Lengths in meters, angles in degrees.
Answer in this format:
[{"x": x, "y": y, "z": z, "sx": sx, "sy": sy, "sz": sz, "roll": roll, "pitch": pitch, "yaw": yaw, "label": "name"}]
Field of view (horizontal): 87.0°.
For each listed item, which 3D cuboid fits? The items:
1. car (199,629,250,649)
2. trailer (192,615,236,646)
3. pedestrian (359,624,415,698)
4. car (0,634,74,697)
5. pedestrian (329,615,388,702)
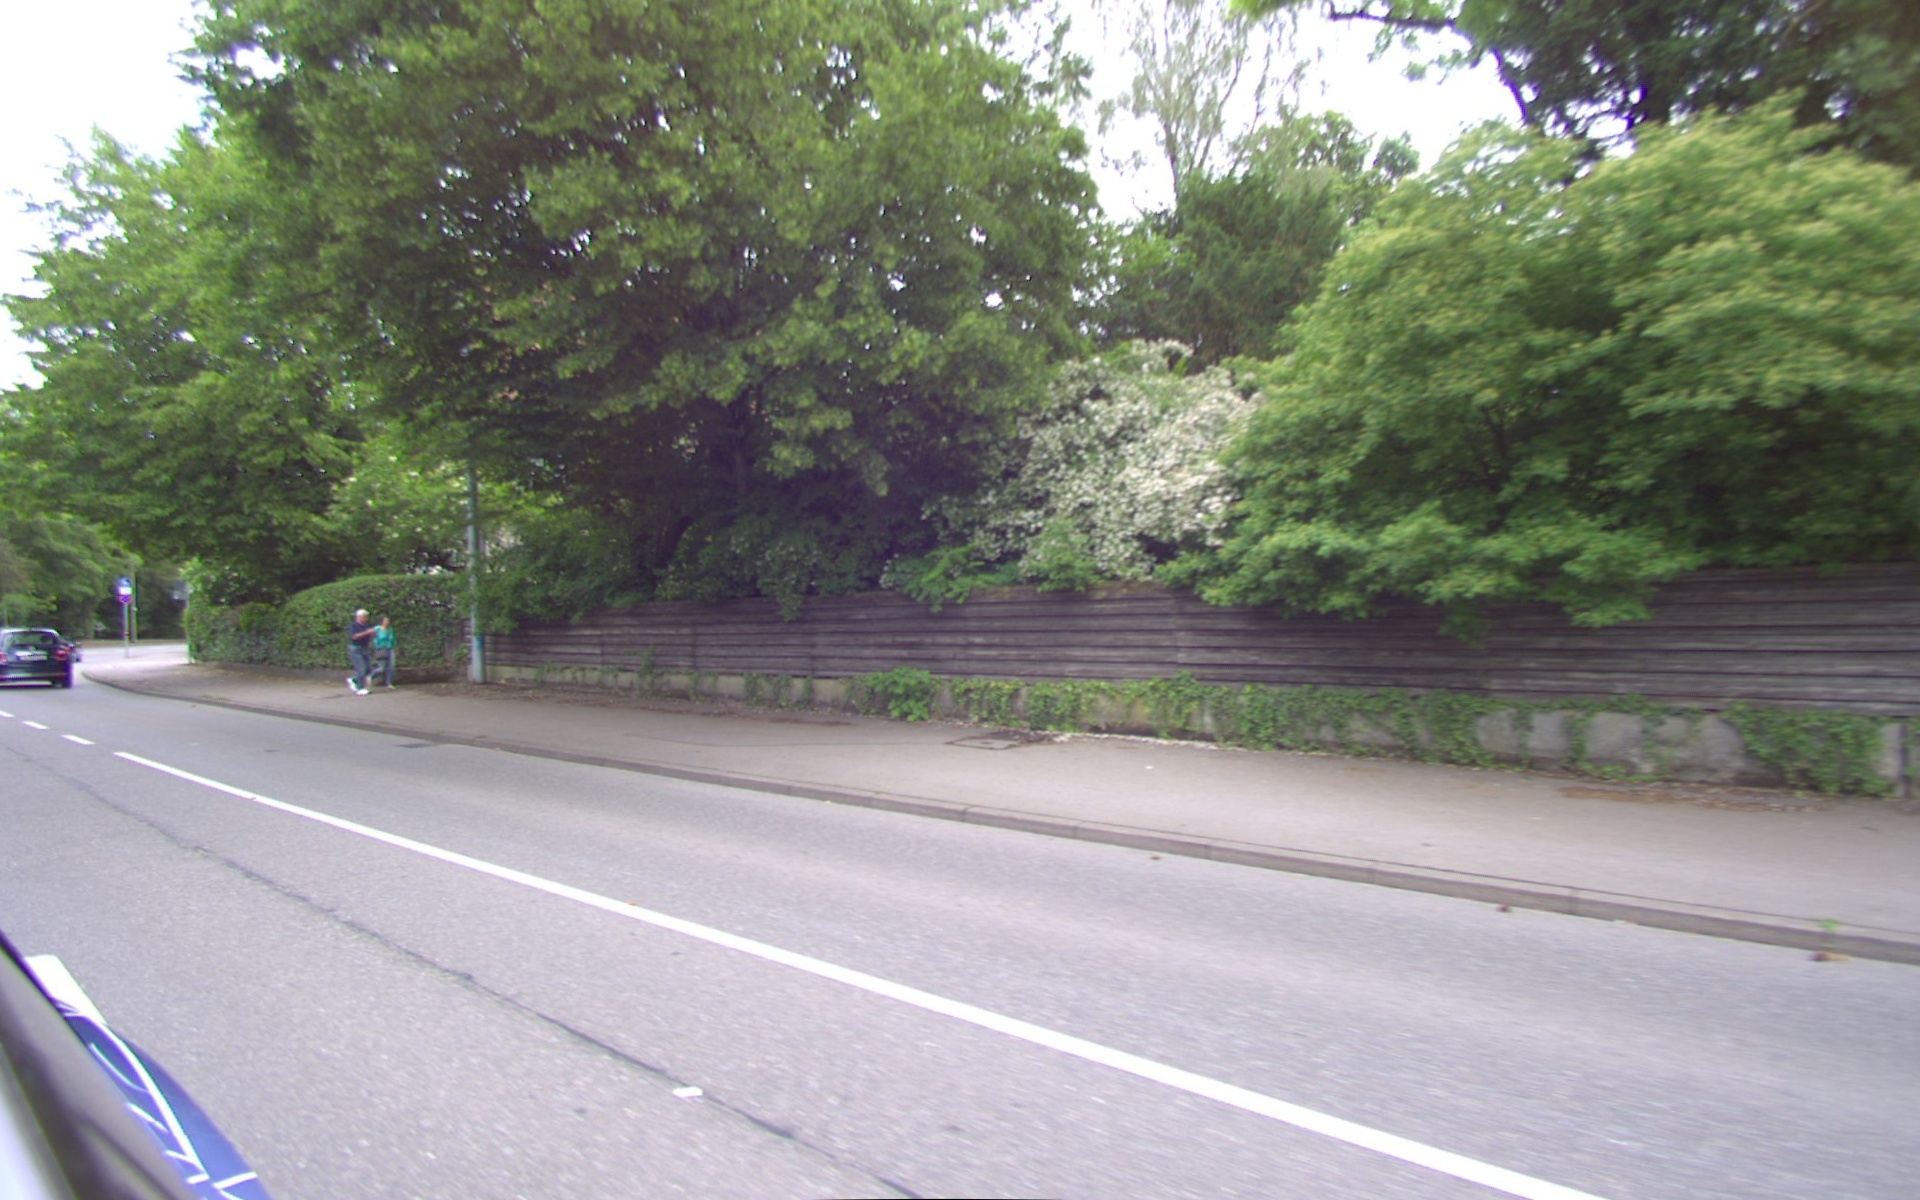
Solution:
[{"x": -54.852, "y": 2.889, "z": 75.568, "sx": 1.782, "sy": 1.454, "sz": 4.211, "roll": 1, "pitch": -2, "yaw": -18, "label": "car"}, {"x": -72.789, "y": 2.985, "z": 98.739, "sx": 3.073, "sy": 2.922, "sz": 1.597, "roll": -1, "pitch": -2, "yaw": -16, "label": "trailer"}, {"x": -11.825, "y": 1.243, "z": 20.895, "sx": 0.754, "sy": 1.460, "sz": 0.665, "roll": -1, "pitch": 1, "yaw": 27, "label": "pedestrian"}, {"x": -23.733, "y": 1.611, "z": 25.481, "sx": 3.529, "sy": 1.483, "sz": 1.702, "roll": -2, "pitch": -3, "yaw": 42, "label": "car"}, {"x": -11.941, "y": 1.148, "z": 20.080, "sx": 0.915, "sy": 1.674, "sz": 0.625, "roll": -1, "pitch": -1, "yaw": 28, "label": "pedestrian"}]
